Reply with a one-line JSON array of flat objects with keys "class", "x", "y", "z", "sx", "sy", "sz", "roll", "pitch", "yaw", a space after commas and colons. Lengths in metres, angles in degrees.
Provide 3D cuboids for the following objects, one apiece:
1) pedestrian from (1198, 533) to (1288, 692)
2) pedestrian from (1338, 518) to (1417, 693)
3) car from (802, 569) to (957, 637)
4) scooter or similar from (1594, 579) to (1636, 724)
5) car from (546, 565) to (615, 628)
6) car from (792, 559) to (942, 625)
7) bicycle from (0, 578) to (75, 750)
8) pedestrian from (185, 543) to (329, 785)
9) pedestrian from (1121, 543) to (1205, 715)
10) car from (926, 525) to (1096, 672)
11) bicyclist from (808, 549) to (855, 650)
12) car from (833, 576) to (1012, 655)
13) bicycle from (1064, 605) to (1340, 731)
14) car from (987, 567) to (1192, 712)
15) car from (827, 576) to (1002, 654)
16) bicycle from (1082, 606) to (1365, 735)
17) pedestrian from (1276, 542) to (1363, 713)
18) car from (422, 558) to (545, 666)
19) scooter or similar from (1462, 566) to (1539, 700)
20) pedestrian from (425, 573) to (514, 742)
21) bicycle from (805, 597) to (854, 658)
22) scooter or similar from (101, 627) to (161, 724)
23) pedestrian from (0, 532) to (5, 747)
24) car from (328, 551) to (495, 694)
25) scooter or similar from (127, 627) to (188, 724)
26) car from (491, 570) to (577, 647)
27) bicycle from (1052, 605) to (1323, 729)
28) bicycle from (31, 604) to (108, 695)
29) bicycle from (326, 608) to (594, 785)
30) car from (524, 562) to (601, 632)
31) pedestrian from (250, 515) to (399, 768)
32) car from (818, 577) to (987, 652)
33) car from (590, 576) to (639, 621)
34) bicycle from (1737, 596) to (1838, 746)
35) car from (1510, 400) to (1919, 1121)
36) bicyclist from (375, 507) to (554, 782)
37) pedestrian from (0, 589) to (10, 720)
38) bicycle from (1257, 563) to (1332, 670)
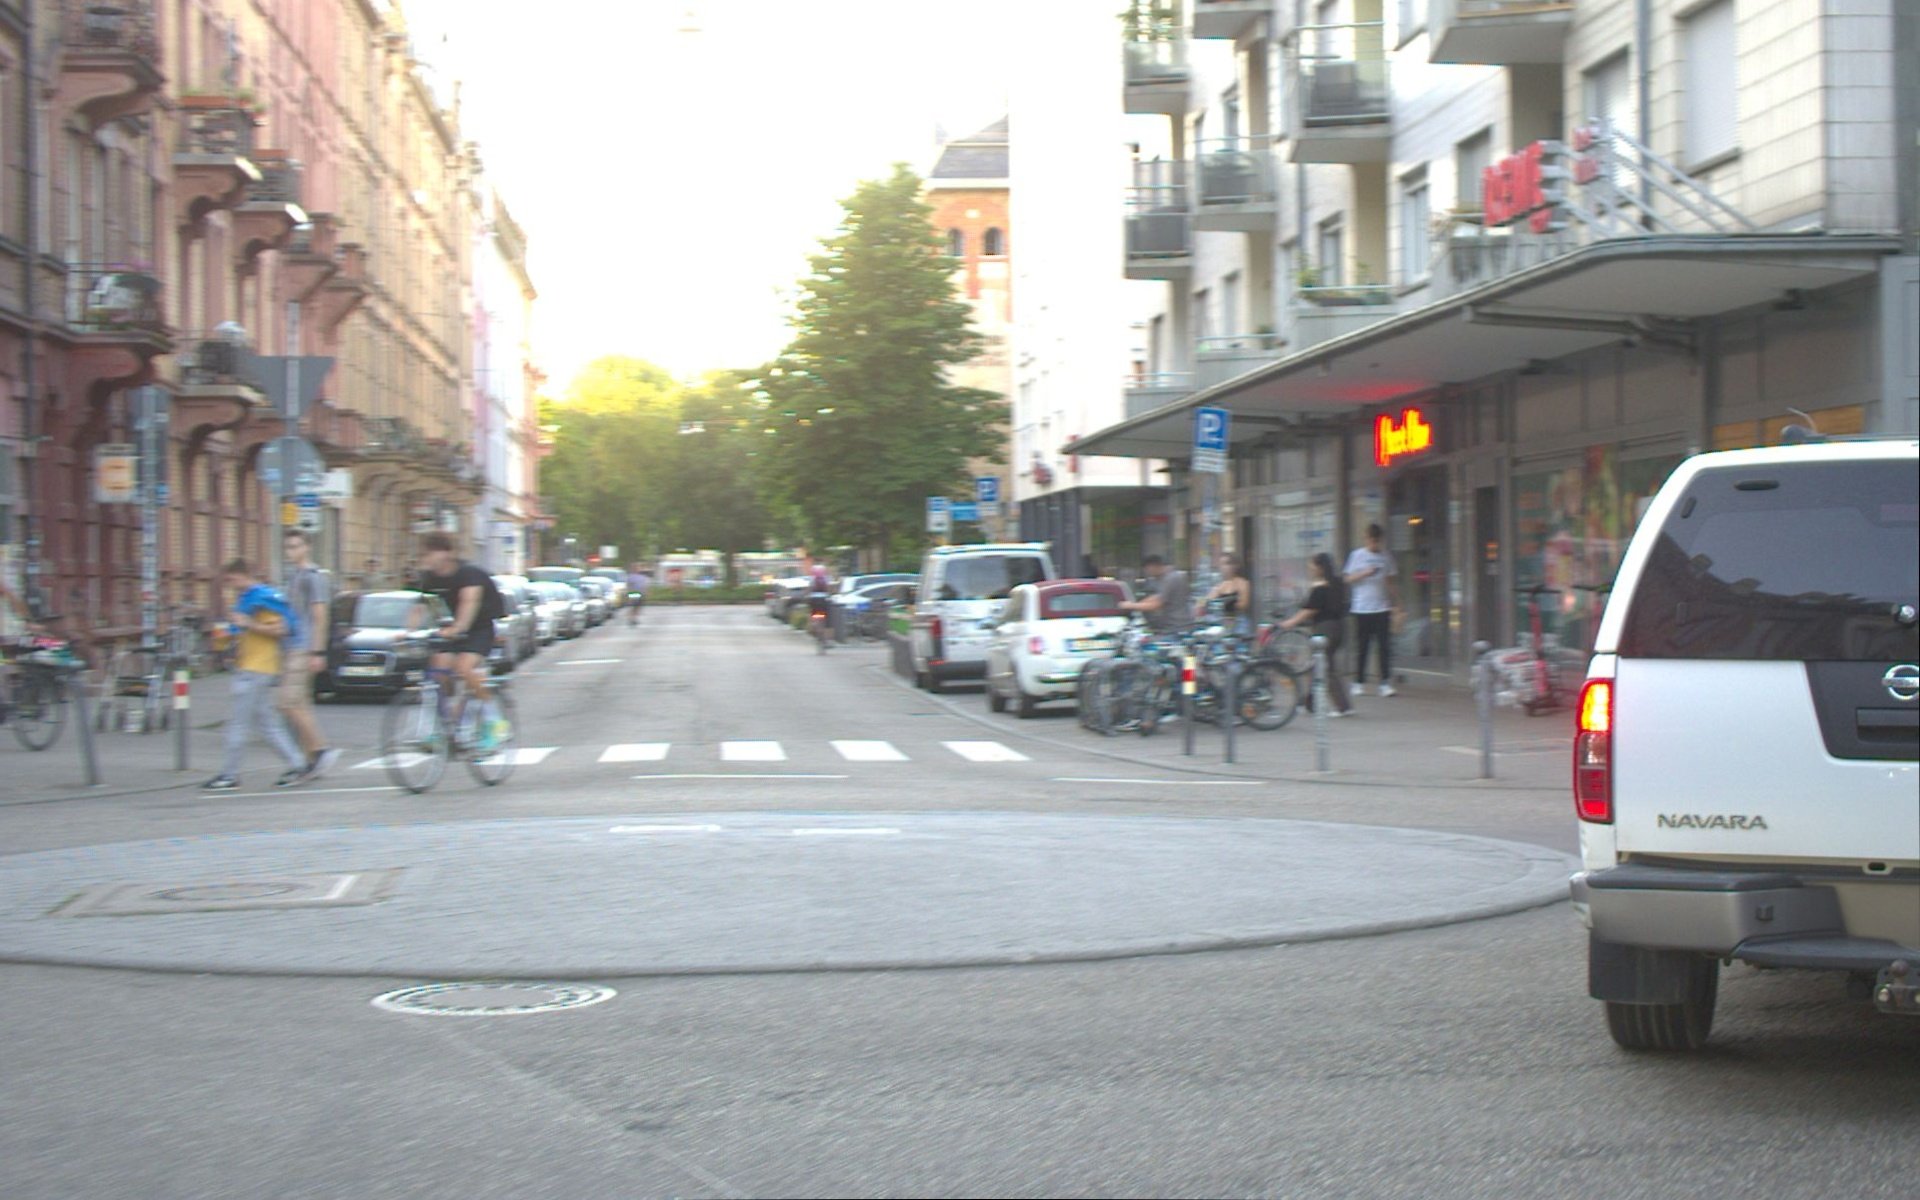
[{"class": "pedestrian", "x": 3.004, "y": 0.135, "z": 36.478, "sx": 0.719, "sy": 1.657, "sz": 0.703, "roll": 1, "pitch": 0, "yaw": -16}, {"class": "pedestrian", "x": 4.618, "y": 0.060, "z": 38.023, "sx": 0.720, "sy": 1.900, "sz": 0.702, "roll": 1, "pitch": 0, "yaw": -4}, {"class": "car", "x": -2.151, "y": 0.081, "z": 91.289, "sx": 3.986, "sy": 1.744, "sz": 1.841, "roll": 1, "pitch": 0, "yaw": -5}, {"class": "scooter or similar", "x": 5.741, "y": 0.442, "z": 30.155, "sx": 0.219, "sy": 1.233, "sz": 0.966, "roll": 1, "pitch": 2, "yaw": 3}, {"class": "car", "x": -10.786, "y": -0.092, "z": 97.907, "sx": 1.834, "sy": 1.744, "sz": 4.001, "roll": 1, "pitch": 0, "yaw": -5}, {"class": "car", "x": -2.573, "y": -0.215, "z": 94.193, "sx": 3.986, "sy": 1.744, "sz": 1.841, "roll": 1, "pitch": 0, "yaw": -5}, {"class": "bicycle", "x": -7.993, "y": 0.538, "z": 29.762, "sx": 0.424, "sy": 1.438, "sz": 1.905, "roll": 1, "pitch": 0, "yaw": -8}, {"class": "pedestrian", "x": -5.121, "y": 0.464, "z": 25.078, "sx": 0.903, "sy": 1.730, "sz": 0.616, "roll": 1, "pitch": 0, "yaw": -1}, {"class": "pedestrian", "x": 1.994, "y": 0.285, "z": 33.816, "sx": 0.720, "sy": 1.657, "sz": 0.702, "roll": 1, "pitch": 0, "yaw": -4}, {"class": "car", "x": 0.664, "y": -0.013, "z": 47.863, "sx": 1.942, "sy": 1.927, "sz": 4.001, "roll": 1, "pitch": 0, "yaw": -5}, {"class": "bicyclist", "x": -2.488, "y": -0.006, "z": 66.471, "sx": 0.838, "sy": 1.937, "sz": 0.785, "roll": 1, "pitch": 0, "yaw": -5}, {"class": "car", "x": -0.884, "y": 0.354, "z": 79.168, "sx": 3.986, "sy": 1.744, "sz": 1.841, "roll": 1, "pitch": 0, "yaw": -5}, {"class": "bicycle", "x": 2.263, "y": 0.630, "z": 32.243, "sx": 2.460, "sy": 1.035, "sz": 0.617, "roll": -3, "pitch": 0, "yaw": -9}, {"class": "car", "x": 1.414, "y": 0.434, "z": 39.112, "sx": 1.834, "sy": 1.536, "sz": 4.001, "roll": 1, "pitch": 0, "yaw": -5}, {"class": "car", "x": -1.102, "y": 0.356, "z": 81.397, "sx": 3.986, "sy": 1.744, "sz": 1.841, "roll": 1, "pitch": 0, "yaw": -5}, {"class": "bicycle", "x": 2.414, "y": 0.639, "z": 31.571, "sx": 2.460, "sy": 1.035, "sz": 0.617, "roll": -3, "pitch": 0, "yaw": -8}, {"class": "pedestrian", "x": 3.539, "y": 0.271, "z": 33.894, "sx": 0.720, "sy": 1.657, "sz": 0.702, "roll": 1, "pitch": 0, "yaw": -4}, {"class": "car", "x": -8.116, "y": 0.199, "z": 58.888, "sx": 1.834, "sy": 1.744, "sz": 4.163, "roll": 1, "pitch": 0, "yaw": -5}, {"class": "scooter or similar", "x": 5.346, "y": 0.318, "z": 34.070, "sx": 0.439, "sy": 1.286, "sz": 1.667, "roll": 1, "pitch": 0, "yaw": -2}, {"class": "pedestrian", "x": -4.757, "y": 0.552, "z": 33.395, "sx": 0.797, "sy": 1.615, "sz": 0.945, "roll": 1, "pitch": 0, "yaw": -6}, {"class": "bicycle", "x": -2.529, "y": 0.525, "z": 66.517, "sx": 0.838, "sy": 1.167, "sz": 1.936, "roll": 1, "pitch": 0, "yaw": -5}, {"class": "scooter or similar", "x": -8.167, "y": 0.734, "z": 33.845, "sx": 0.233, "sy": 0.926, "sz": 1.266, "roll": 1, "pitch": 0, "yaw": -29}, {"class": "pedestrian", "x": -8.515, "y": 0.330, "z": 29.470, "sx": 0.503, "sy": 1.834, "sz": 0.573, "roll": 1, "pitch": 0, "yaw": -27}, {"class": "car", "x": -7.104, "y": 0.284, "z": 44.866, "sx": 1.834, "sy": 1.744, "sz": 4.001, "roll": 1, "pitch": 0, "yaw": -5}, {"class": "scooter or similar", "x": -7.939, "y": 0.738, "z": 33.976, "sx": 0.233, "sy": 0.926, "sz": 1.266, "roll": 1, "pitch": 0, "yaw": -29}, {"class": "car", "x": -9.987, "y": 0.204, "z": 80.804, "sx": 1.834, "sy": 1.744, "sz": 4.001, "roll": 1, "pitch": 0, "yaw": -5}, {"class": "bicycle", "x": 2.176, "y": 0.630, "z": 32.908, "sx": 2.460, "sy": 1.035, "sz": 0.617, "roll": -3, "pitch": 0, "yaw": -9}, {"class": "bicycle", "x": -10.533, "y": 0.569, "z": 40.731, "sx": 0.387, "sy": 1.033, "sz": 2.483, "roll": 1, "pitch": 0, "yaw": -3}, {"class": "bicycle", "x": -3.448, "y": 0.652, "z": 23.881, "sx": 0.839, "sy": 1.167, "sz": 1.933, "roll": 1, "pitch": 0, "yaw": 28}, {"class": "car", "x": -10.392, "y": -0.073, "z": 90.103, "sx": 1.834, "sy": 1.744, "sz": 4.001, "roll": 1, "pitch": 0, "yaw": -5}, {"class": "pedestrian", "x": -4.812, "y": 0.314, "z": 26.043, "sx": 0.903, "sy": 1.878, "sz": 0.616, "roll": 1, "pitch": 0, "yaw": -35}, {"class": "car", "x": -1.418, "y": 0.357, "z": 84.043, "sx": 3.986, "sy": 1.744, "sz": 1.841, "roll": 1, "pitch": 0, "yaw": -5}, {"class": "car", "x": -13.818, "y": -0.044, "z": 137.632, "sx": 1.834, "sy": 1.744, "sz": 4.001, "roll": 1, "pitch": 0, "yaw": -5}, {"class": "bicycle", "x": 6.259, "y": 0.527, "z": 26.034, "sx": 0.289, "sy": 1.109, "sz": 0.966, "roll": 1, "pitch": 0, "yaw": -16}, {"class": "car", "x": 3.256, "y": 0.339, "z": 10.932, "sx": 1.940, "sy": 1.804, "sz": 4.996, "roll": 1, "pitch": 2, "yaw": 21}, {"class": "bicyclist", "x": -3.440, "y": 0.301, "z": 23.903, "sx": 0.839, "sy": 1.870, "sz": 0.877, "roll": 1, "pitch": 0, "yaw": 29}, {"class": "pedestrian", "x": -9.707, "y": 0.526, "z": 33.746, "sx": 0.648, "sy": 1.281, "sz": 0.540, "roll": 1, "pitch": 0, "yaw": -8}, {"class": "bicycle", "x": 4.483, "y": 0.216, "z": 46.176, "sx": 0.555, "sy": 1.403, "sz": 2.096, "roll": 1, "pitch": 0, "yaw": -6}]
